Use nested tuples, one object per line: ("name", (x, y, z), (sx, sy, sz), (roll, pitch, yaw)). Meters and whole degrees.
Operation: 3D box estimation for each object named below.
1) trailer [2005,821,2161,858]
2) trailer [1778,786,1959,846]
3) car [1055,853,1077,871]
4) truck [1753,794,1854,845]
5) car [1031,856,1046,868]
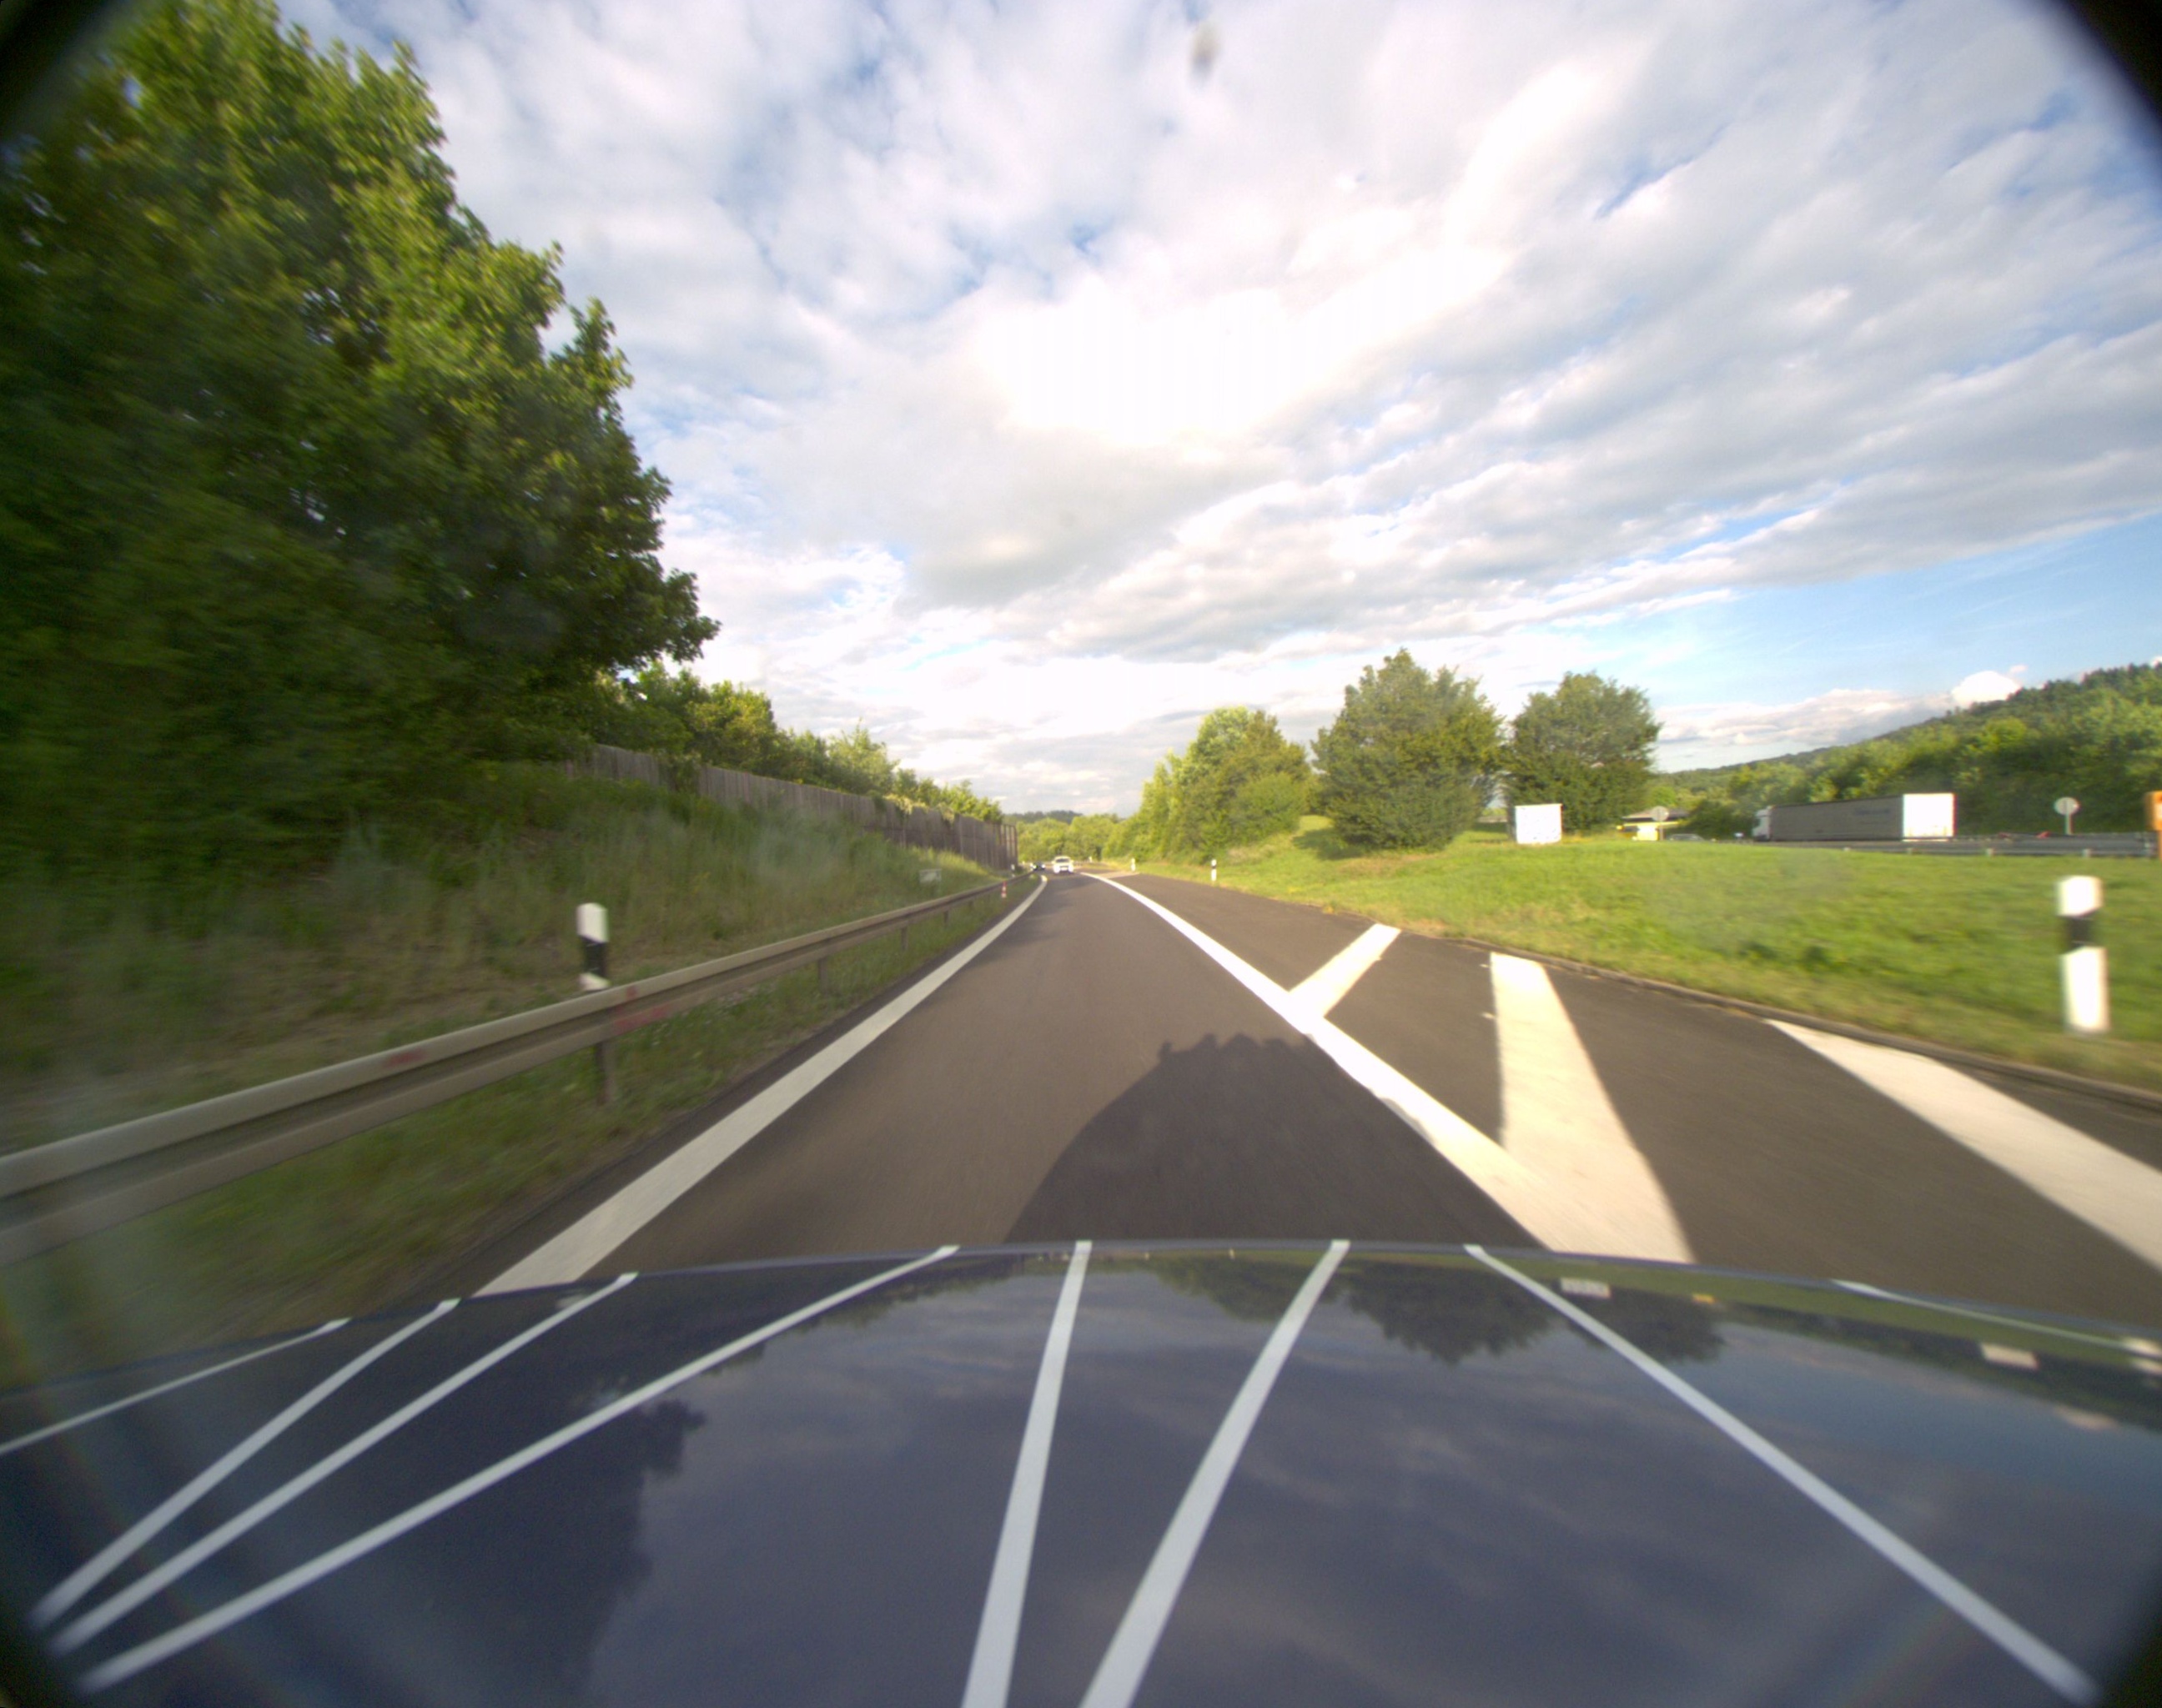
("trailer", (31.988, -0.469, 23.015), (1.996, 1.029, 5.888), (-2, 1, 14))
("trailer", (57.818, -2.618, 56.528), (2.948, 3.865, 12.986), (-2, 1, 15))
("car", (-1.464, 0.782, 74.233), (1.905, 1.655, 4.001), (-2, -1, 1))
("truck", (59.385, -2.725, 62.736), (2.948, 3.865, 7.093), (-2, 1, 15))
("car", (-6.437, 1.212, 114.646), (1.808, 1.707, 3.998), (-2, 0, -7))
